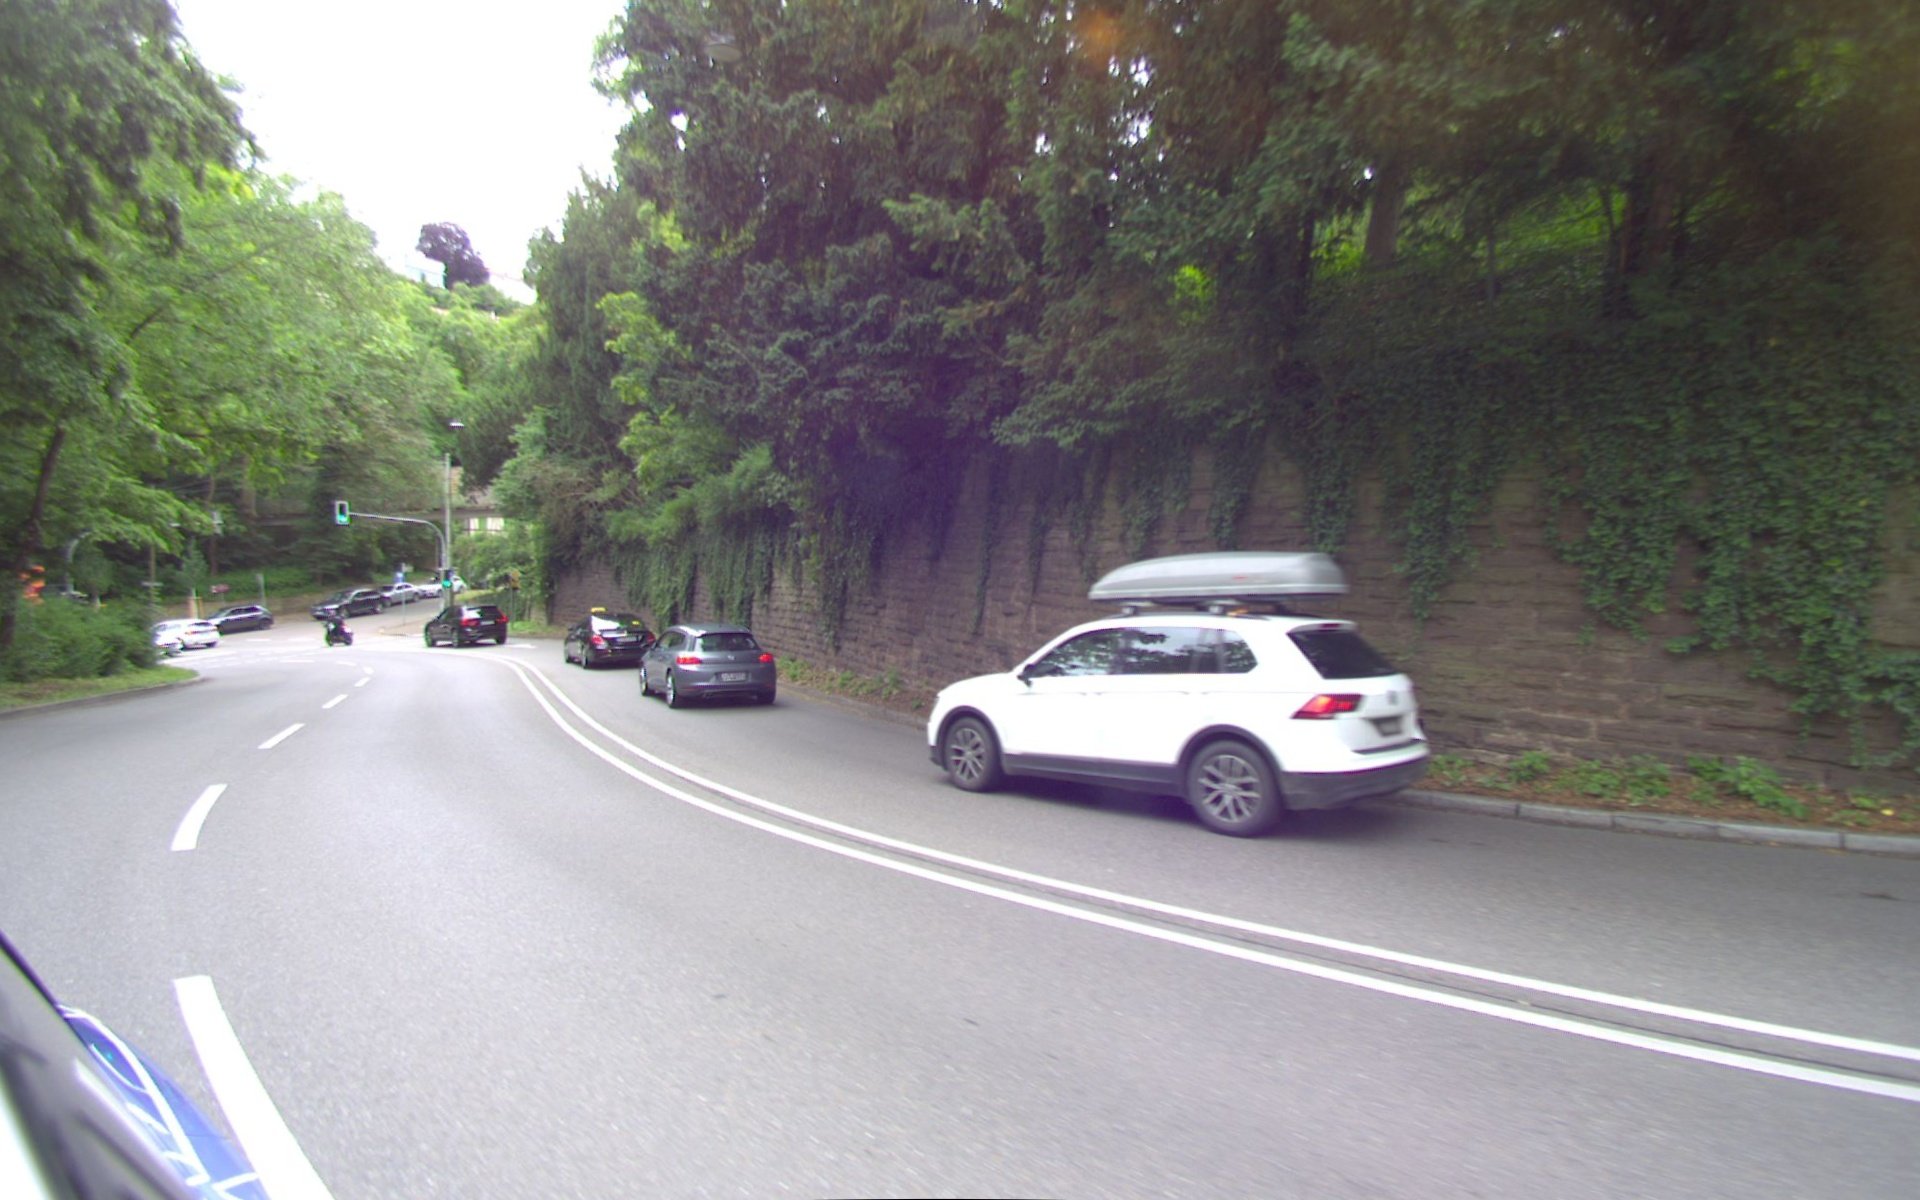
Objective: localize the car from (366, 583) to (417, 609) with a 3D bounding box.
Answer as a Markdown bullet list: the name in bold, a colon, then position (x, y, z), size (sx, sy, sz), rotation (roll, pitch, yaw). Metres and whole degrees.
- **car**: position (-40.589, -0.284, 72.310), size (1.488, 1.457, 3.261), rotation (1, 7, 7)

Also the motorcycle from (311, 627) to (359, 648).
- **motorcycle**: position (-28.513, 1.695, 46.141), size (2.419, 0.896, 0.803), rotation (0, 0, 29)

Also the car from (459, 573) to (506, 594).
- **car**: position (-39.318, -1.410, 83.394), size (1.584, 1.338, 3.905), rotation (1, 6, 8)

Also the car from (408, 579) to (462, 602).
- **car**: position (-40.085, -0.773, 77.394), size (1.610, 1.338, 4.016), rotation (1, 6, 8)

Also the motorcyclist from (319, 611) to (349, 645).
- **motorcyclist**: position (-28.550, 1.263, 46.156), size (1.090, 1.541, 0.742), rotation (0, 0, 29)

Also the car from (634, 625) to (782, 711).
- **car**: position (-4.632, 1.140, 18.230), size (1.746, 1.349, 3.973), rotation (1, -2, -27)

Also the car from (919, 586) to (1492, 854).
- **car**: position (1.792, 0.820, 8.477), size (4.388, 1.665, 1.749), rotation (-2, -3, 44)

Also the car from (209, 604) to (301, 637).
- **car**: position (-40.945, 1.145, 58.860), size (1.745, 1.368, 3.967), rotation (0, 6, 26)

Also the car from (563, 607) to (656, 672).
- **car**: position (-9.761, 1.012, 27.958), size (1.836, 1.609, 4.645), rotation (-1, 0, -27)

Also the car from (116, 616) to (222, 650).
- **car**: position (-39.354, 1.650, 50.385), size (4.284, 1.426, 1.746), rotation (-2, 2, 12)

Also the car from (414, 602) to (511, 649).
- **car**: position (-19.843, 1.007, 40.266), size (4.510, 1.661, 1.831), rotation (-2, 3, 42)

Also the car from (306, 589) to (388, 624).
- **car**: position (-38.994, 0.389, 64.476), size (1.789, 1.696, 4.528), rotation (-1, 6, 12)
